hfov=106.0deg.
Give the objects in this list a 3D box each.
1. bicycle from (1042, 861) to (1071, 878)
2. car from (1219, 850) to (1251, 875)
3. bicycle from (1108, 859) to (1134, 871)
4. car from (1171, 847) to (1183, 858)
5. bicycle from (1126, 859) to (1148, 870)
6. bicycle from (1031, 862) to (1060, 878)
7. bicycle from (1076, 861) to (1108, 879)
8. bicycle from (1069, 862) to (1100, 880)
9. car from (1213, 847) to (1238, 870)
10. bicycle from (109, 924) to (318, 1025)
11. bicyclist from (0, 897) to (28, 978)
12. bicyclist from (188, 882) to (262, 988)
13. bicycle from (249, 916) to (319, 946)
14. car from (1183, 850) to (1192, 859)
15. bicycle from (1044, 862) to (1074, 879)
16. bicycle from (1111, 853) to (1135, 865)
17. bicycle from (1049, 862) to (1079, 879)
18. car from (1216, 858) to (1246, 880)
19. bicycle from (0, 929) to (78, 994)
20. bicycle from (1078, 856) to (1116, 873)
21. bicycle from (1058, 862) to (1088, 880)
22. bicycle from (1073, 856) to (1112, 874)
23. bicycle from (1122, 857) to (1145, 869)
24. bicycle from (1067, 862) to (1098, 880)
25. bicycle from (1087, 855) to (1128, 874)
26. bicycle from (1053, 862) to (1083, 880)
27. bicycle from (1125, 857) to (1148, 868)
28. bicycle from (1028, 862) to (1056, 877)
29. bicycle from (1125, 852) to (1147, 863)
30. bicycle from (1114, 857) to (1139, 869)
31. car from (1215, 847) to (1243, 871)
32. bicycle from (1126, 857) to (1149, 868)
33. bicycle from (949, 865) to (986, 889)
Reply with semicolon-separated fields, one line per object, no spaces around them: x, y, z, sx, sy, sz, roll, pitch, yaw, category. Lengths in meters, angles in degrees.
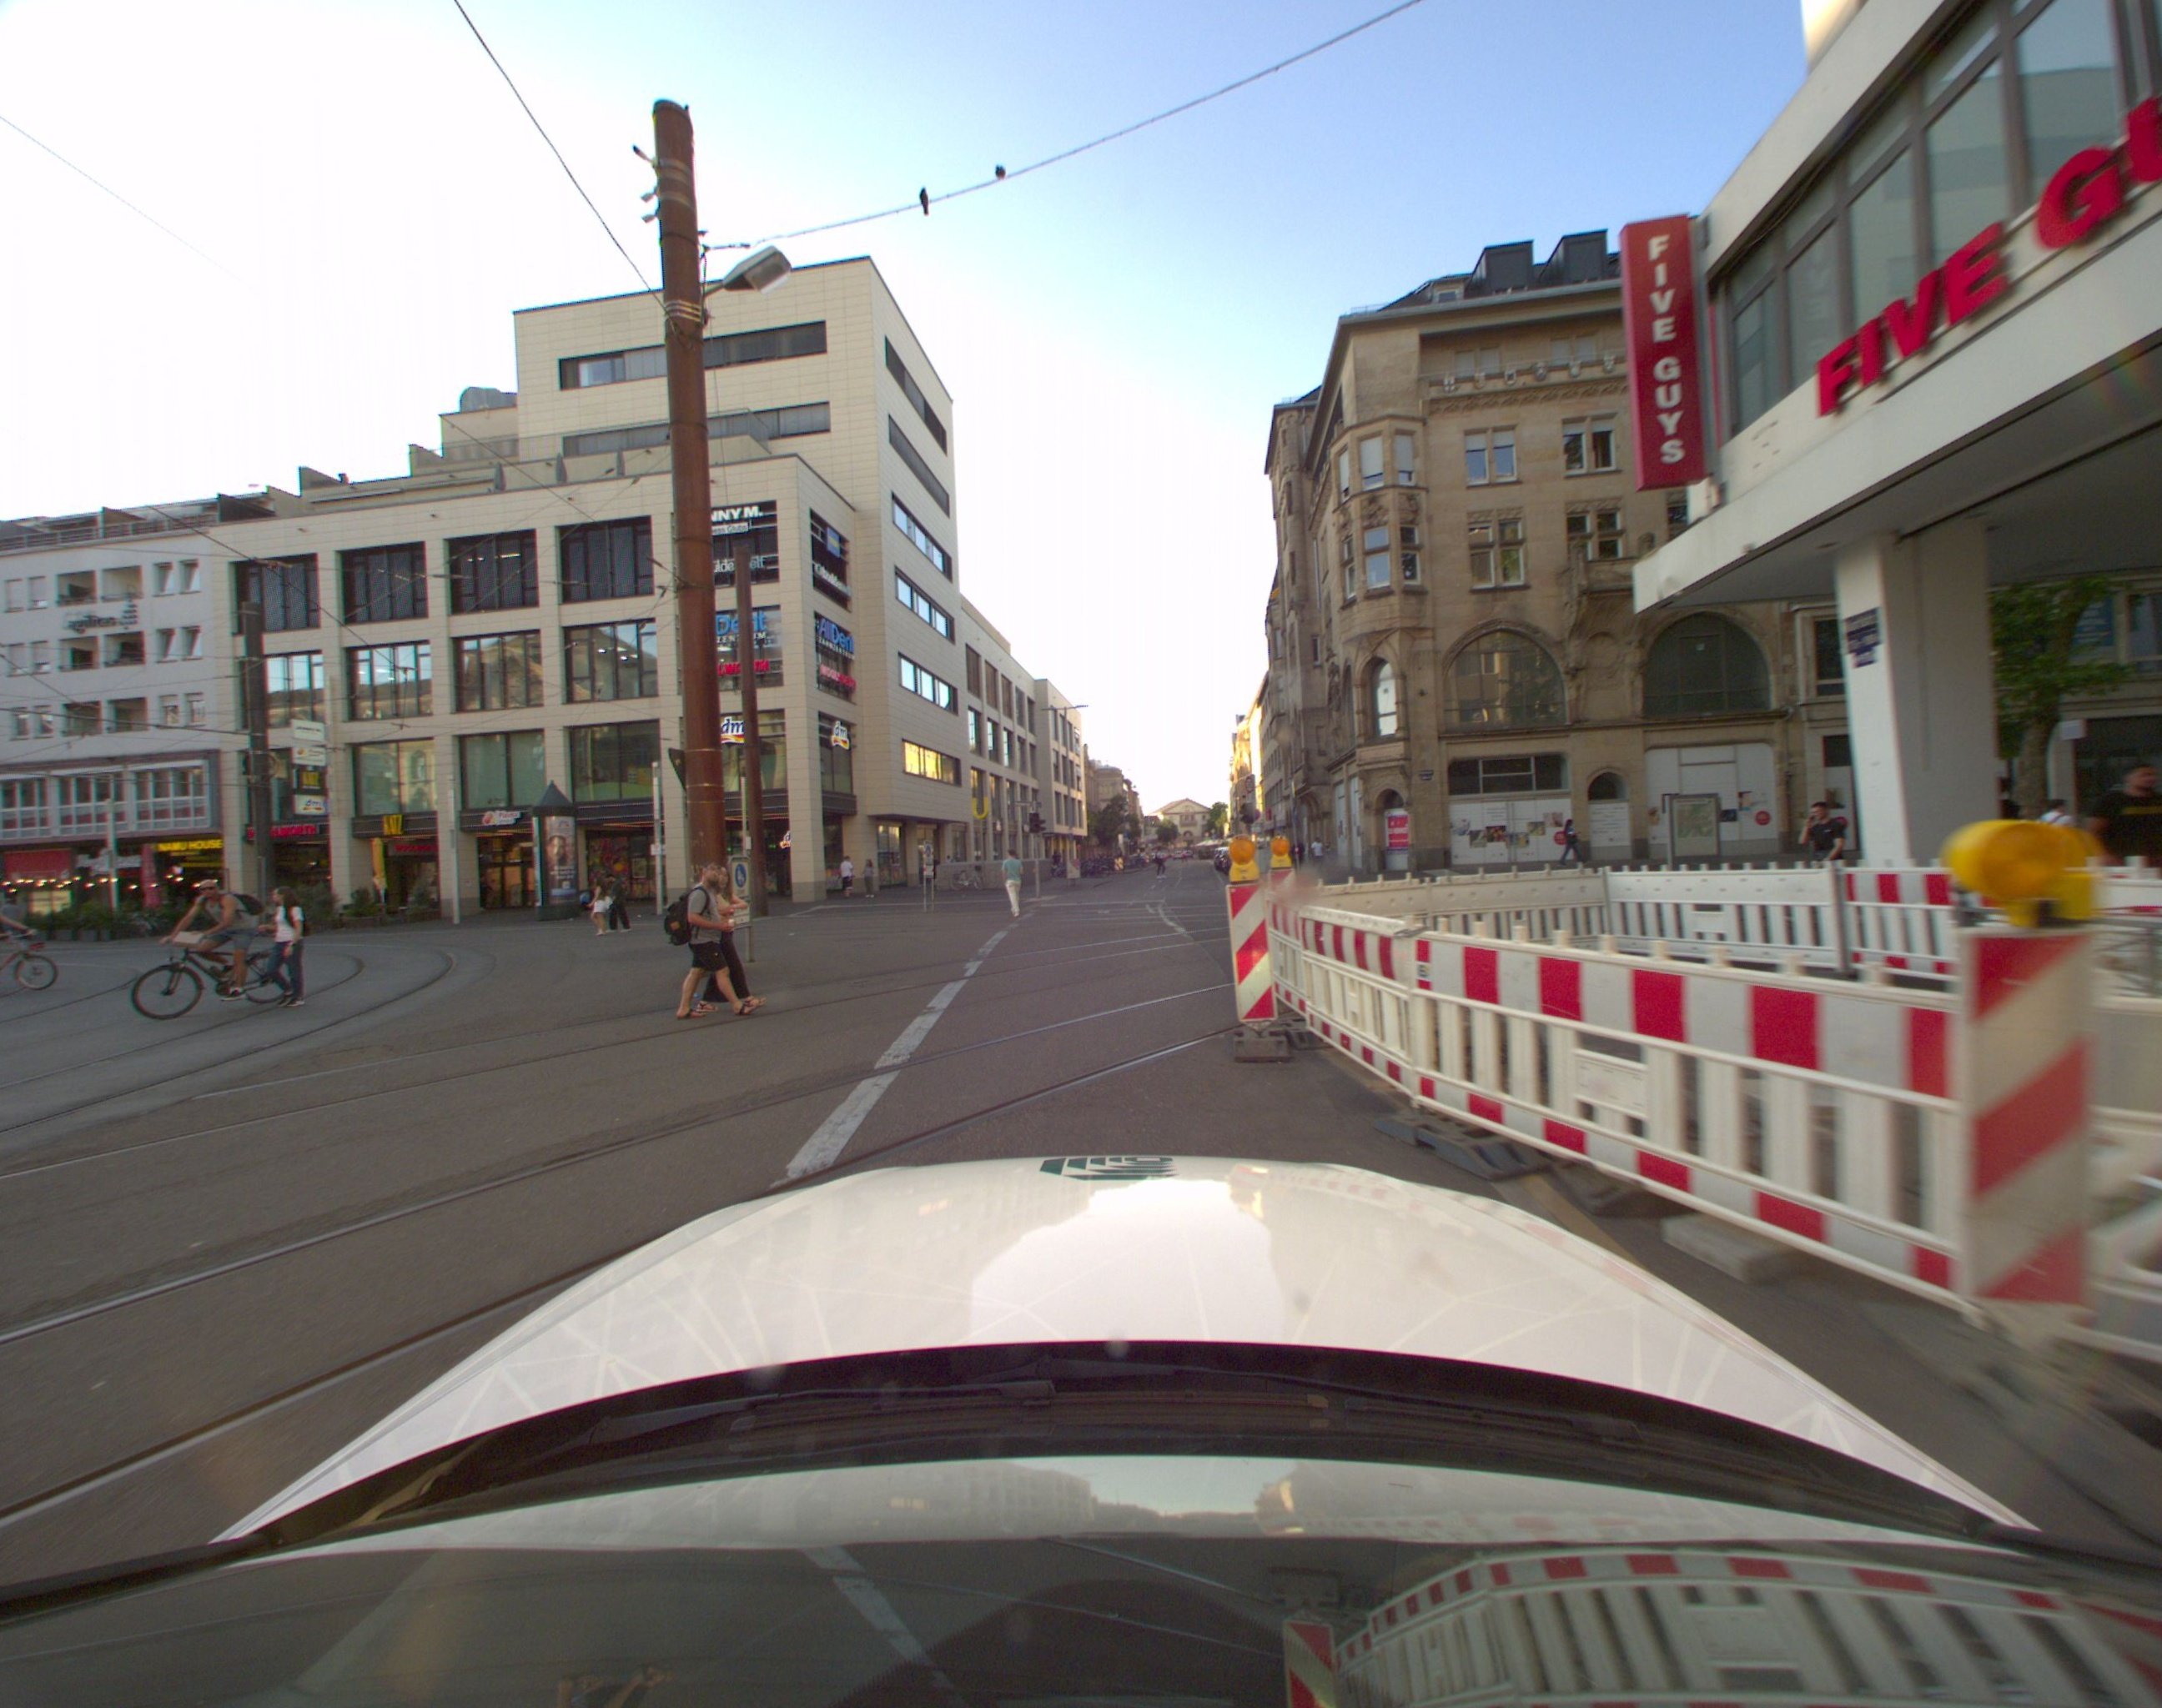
-1.753;1.122;58.015;1.974;1.122;0.554;-1;-1;-21;bicycle
9.040;0.488;47.905;1.669;1.424;3.681;-1;0;8;car
3.494;0.975;71.569;2.135;0.953;0.642;-3;-1;9;bicycle
18.379;-0.307;155.709;1.982;1.904;4.009;-2;0;8;car
5.775;1.079;83.654;2.135;1.029;0.642;-3;-1;9;bicycle
-2.594;1.149;59.186;1.974;1.122;0.554;-1;-1;-21;bicycle
0.692;1.029;52.542;1.974;1.122;0.554;-1;-1;-21;bicycle
0.212;1.108;53.364;1.974;1.122;0.554;-1;-1;-21;bicycle
11.420;0.355;64.403;1.669;1.613;4.037;-4;-1;8;car
-11.981;1.624;11.363;0.569;1.098;2.027;-2;0;8;bicycle
-20.453;1.566;15.133;0.872;1.465;0.597;-1;-1;-13;bicyclist
-11.985;1.118;11.411;0.418;1.427;0.565;-2;-1;8;bicyclist
-30.940;2.984;31.635;0.445;0.986;1.938;-2;-1;43;bicycle
23.050;0.190;176.466;1.982;1.904;4.009;-2;0;8;car
-1.529;1.170;57.080;1.974;1.122;0.554;-1;-1;-21;bicycle
3.799;0.432;73.588;2.135;0.953;0.642;-3;-1;9;bicycle
-1.165;1.158;56.421;1.974;1.122;0.554;-1;-1;-21;bicycle
9.760;0.942;53.235;1.669;1.291;4.056;-4;-1;8;car
-20.223;2.019;15.163;1.914;1.115;0.698;-2;-1;-13;bicycle
1.278;0.837;65.058;2.895;1.255;0.799;-3;-1;-18;bicycle
-0.553;1.136;55.056;1.974;1.122;0.554;-1;-1;-21;bicycle
0.915;0.840;63.617;2.895;1.255;0.799;-3;-1;-18;bicycle
5.102;0.848;79.320;2.135;1.029;0.642;-3;-1;9;bicycle
0.121;1.113;54.102;1.974;1.122;0.554;-1;-1;-21;bicycle
1.939;0.798;60.172;2.895;1.255;0.799;-3;-1;-18;bicycle
-0.860;1.147;55.745;1.974;1.122;0.554;-1;-1;-21;bicycle
5.496;0.845;80.805;2.135;1.029;0.642;-3;-1;9;bicycle
-2.952;1.168;61.359;1.974;1.122;0.554;-1;-1;-21;bicycle
5.641;0.383;82.897;2.135;1.029;0.642;-3;-1;9;bicycle
4.149;0.847;74.459;2.135;0.953;0.642;-3;-1;9;bicycle
10.585;0.324;58.370;1.669;1.547;3.681;-4;-1;8;car
5.556;0.840;80.059;2.135;1.029;0.642;-3;-1;9;bicycle
-5.429;1.095;38.967;1.685;1.122;0.452;-2;-1;10;bicycle
